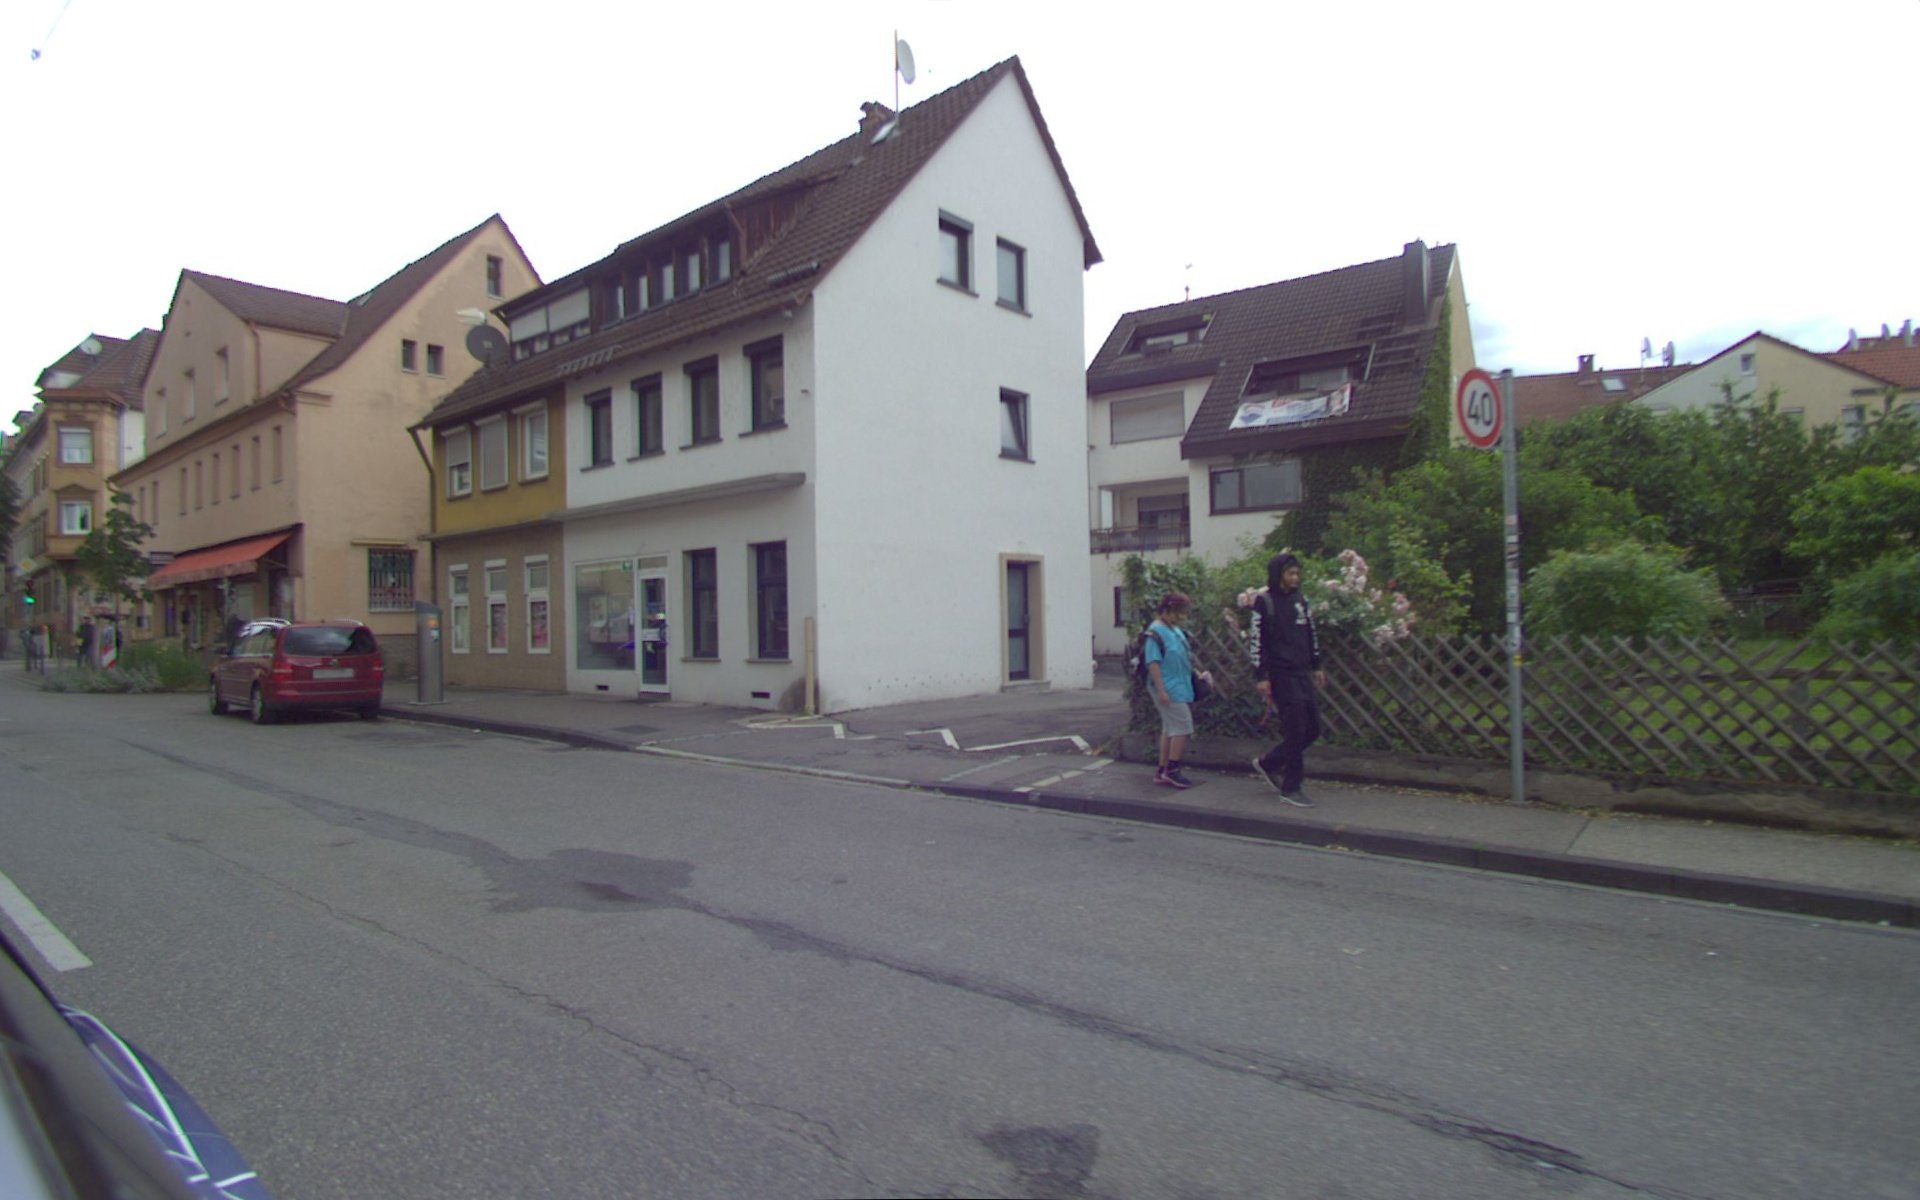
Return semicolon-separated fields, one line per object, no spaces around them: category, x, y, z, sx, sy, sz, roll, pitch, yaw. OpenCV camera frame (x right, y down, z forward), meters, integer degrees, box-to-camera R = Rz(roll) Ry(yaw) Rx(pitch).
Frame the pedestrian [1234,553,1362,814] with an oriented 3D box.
pedestrian;2.570;0.598;7.691;0.696;1.862;0.565;-2;1;41

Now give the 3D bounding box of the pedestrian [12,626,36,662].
pedestrian;-46.951;2.206;50.749;1.155;1.731;0.731;-2;-1;39

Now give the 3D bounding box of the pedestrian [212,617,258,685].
pedestrian;-18.265;1.263;25.492;0.757;1.641;0.723;0;1;37

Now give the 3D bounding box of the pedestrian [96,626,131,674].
pedestrian;-28.034;1.640;33.503;0.982;1.546;0.731;-2;-1;40

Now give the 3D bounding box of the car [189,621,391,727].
car;-11.530;1.207;17.302;4.447;1.586;1.685;-2;-4;40

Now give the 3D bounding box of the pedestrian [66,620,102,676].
pedestrian;-28.126;1.534;32.495;0.982;1.767;0.731;-2;-1;42

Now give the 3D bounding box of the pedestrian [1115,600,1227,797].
pedestrian;1.776;0.793;8.518;0.696;1.566;0.565;-2;0;41
